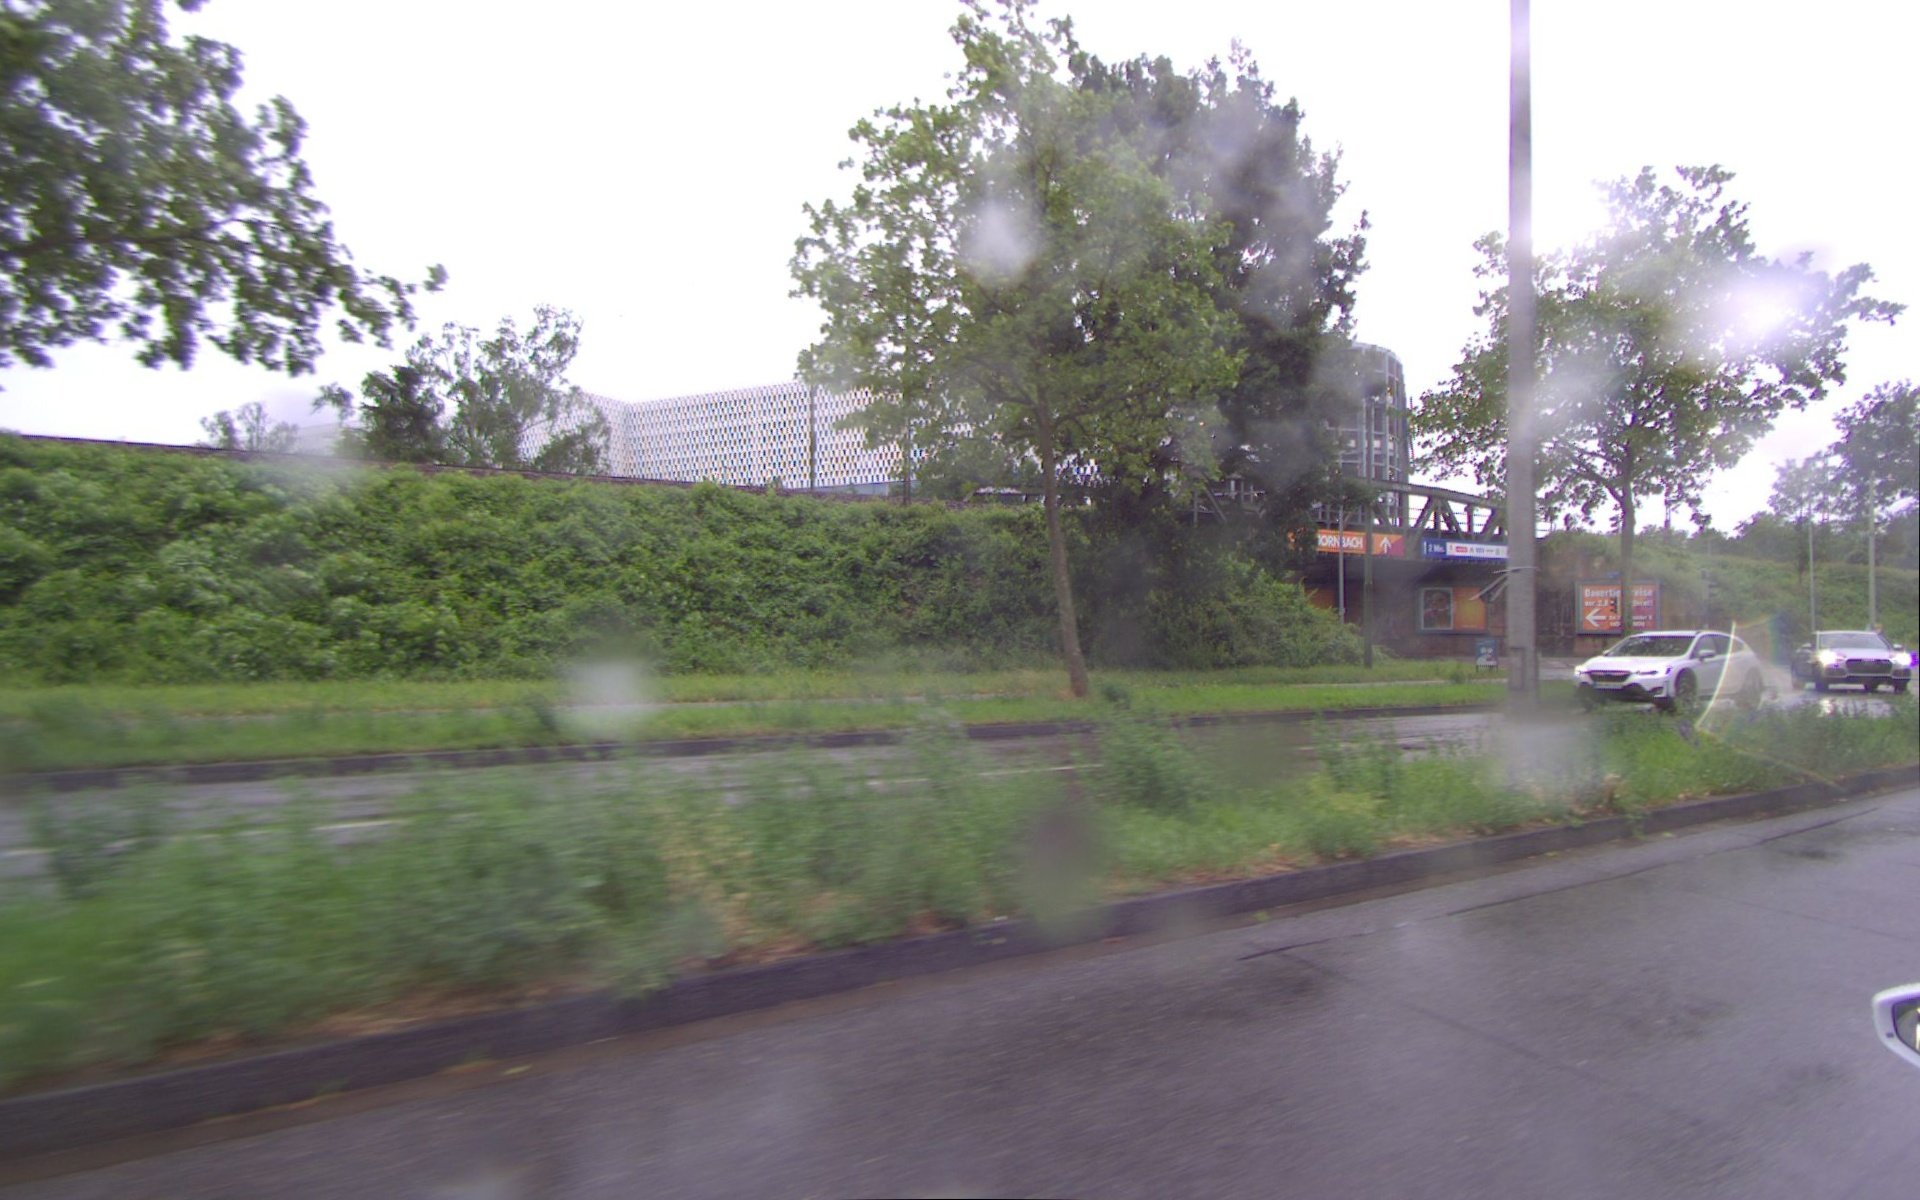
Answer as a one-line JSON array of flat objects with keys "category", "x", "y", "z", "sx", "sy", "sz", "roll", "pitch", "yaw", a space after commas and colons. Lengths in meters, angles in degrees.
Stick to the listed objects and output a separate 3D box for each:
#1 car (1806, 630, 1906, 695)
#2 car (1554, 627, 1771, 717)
[{"category": "car", "x": 24.540, "y": 1.670, "z": 27.645, "sx": 1.834, "sy": 1.610, "sz": 4.498, "roll": -1, "pitch": -2, "yaw": 39}, {"category": "car", "x": 13.996, "y": 1.375, "z": 19.973, "sx": 4.465, "sy": 1.610, "sz": 1.848, "roll": 2, "pitch": -2, "yaw": -30}]
